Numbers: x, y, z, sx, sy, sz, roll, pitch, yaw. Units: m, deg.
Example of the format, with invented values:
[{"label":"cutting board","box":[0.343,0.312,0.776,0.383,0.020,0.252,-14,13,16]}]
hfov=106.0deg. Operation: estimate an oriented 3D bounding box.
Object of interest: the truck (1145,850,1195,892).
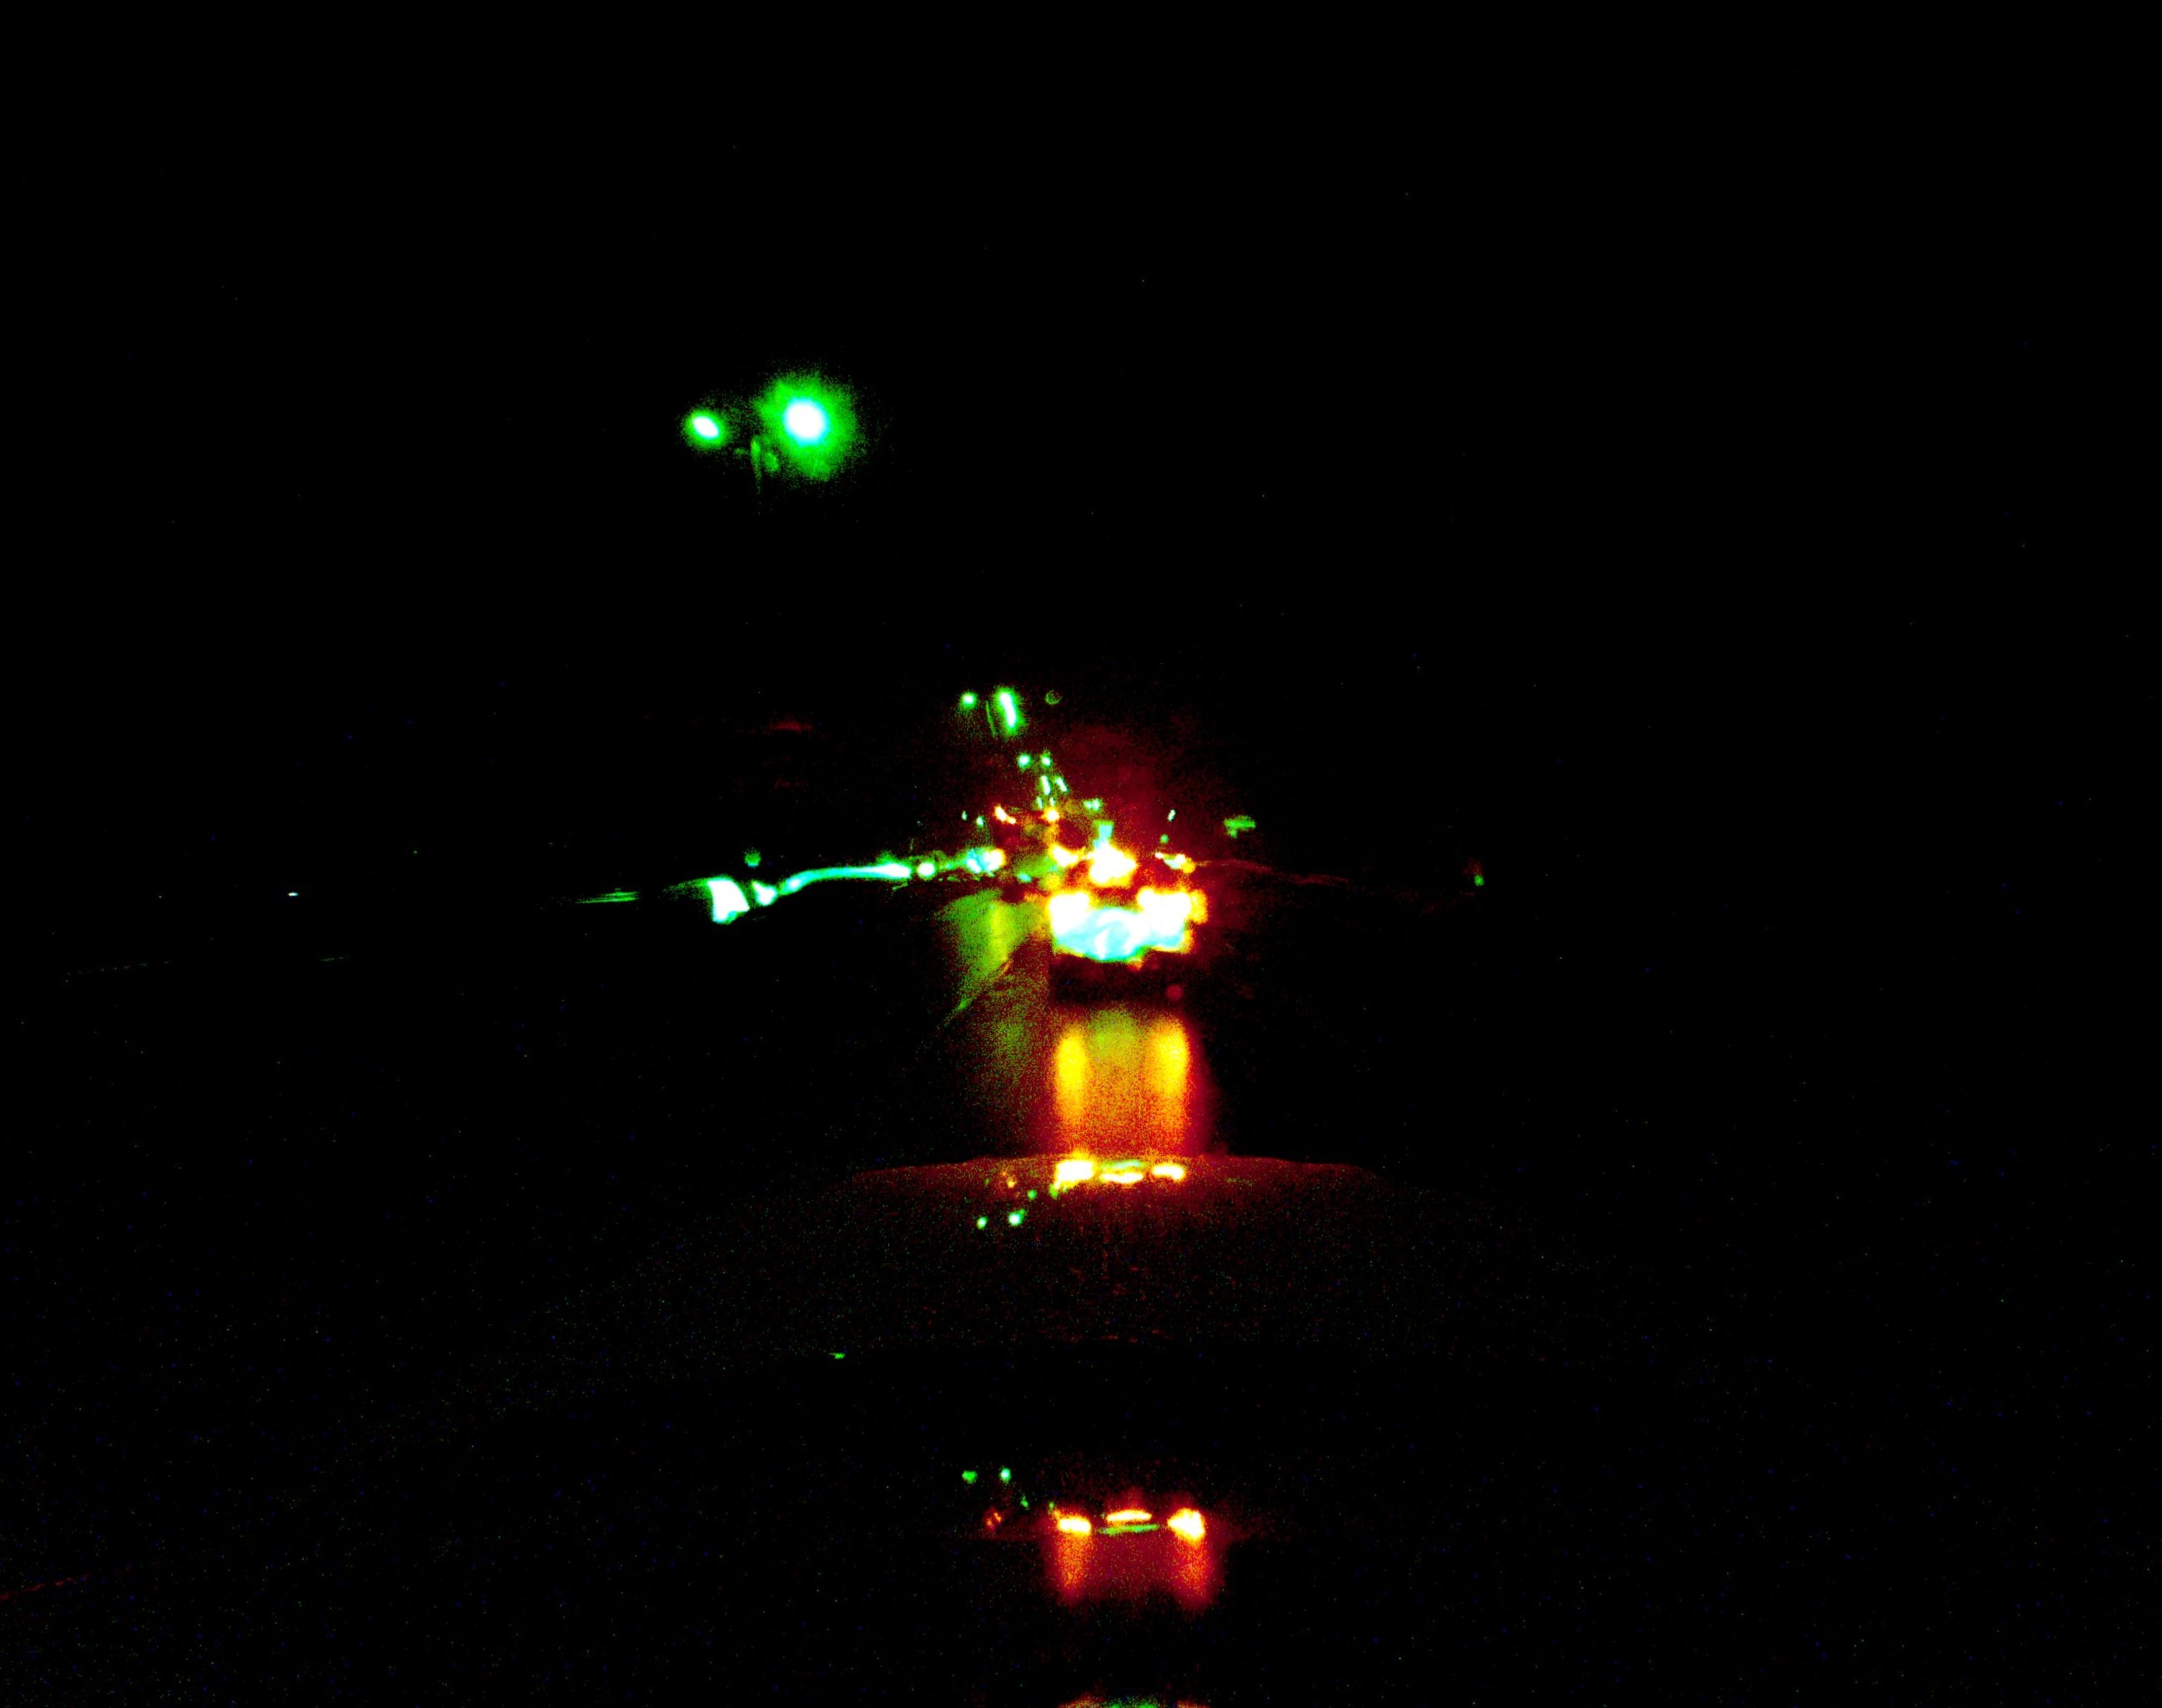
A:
[{"label":"truck","box":[5.952,1.114,53.858,3.053,2.528,7.180,1,-1,7]}]

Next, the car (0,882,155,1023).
[{"label":"car","box":[-13.068,1.121,8.793,1.594,1.552,3.836,1,-1,3]}]

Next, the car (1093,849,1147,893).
[{"label":"car","box":[1.410,0.588,29.472,1.814,1.461,3.718,-1,0,2]}]

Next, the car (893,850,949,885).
[{"label":"car","box":[-8.515,0.727,43.794,1.987,1.774,4.705,1,-1,1]}]

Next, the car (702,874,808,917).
[{"label":"car","box":[-12.574,1.555,31.811,2.016,1.502,4.898,1,-1,2]}]

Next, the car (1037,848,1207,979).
[{"label":"car","box":[0.554,0.696,11.199,1.936,1.491,3.718,-1,0,3]}]

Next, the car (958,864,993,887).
[{"label":"car","box":[-8.574,1.743,66.364,2.157,1.774,4.705,1,-1,1]}]

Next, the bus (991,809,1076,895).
[{"label":"bus","box":[-1.777,-0.092,34.593,2.733,3.123,9.205,1,0,2]}]

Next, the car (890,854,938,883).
[{"label":"car","box":[-10.701,0.951,52.547,1.987,1.774,4.705,1,-1,1]}]
